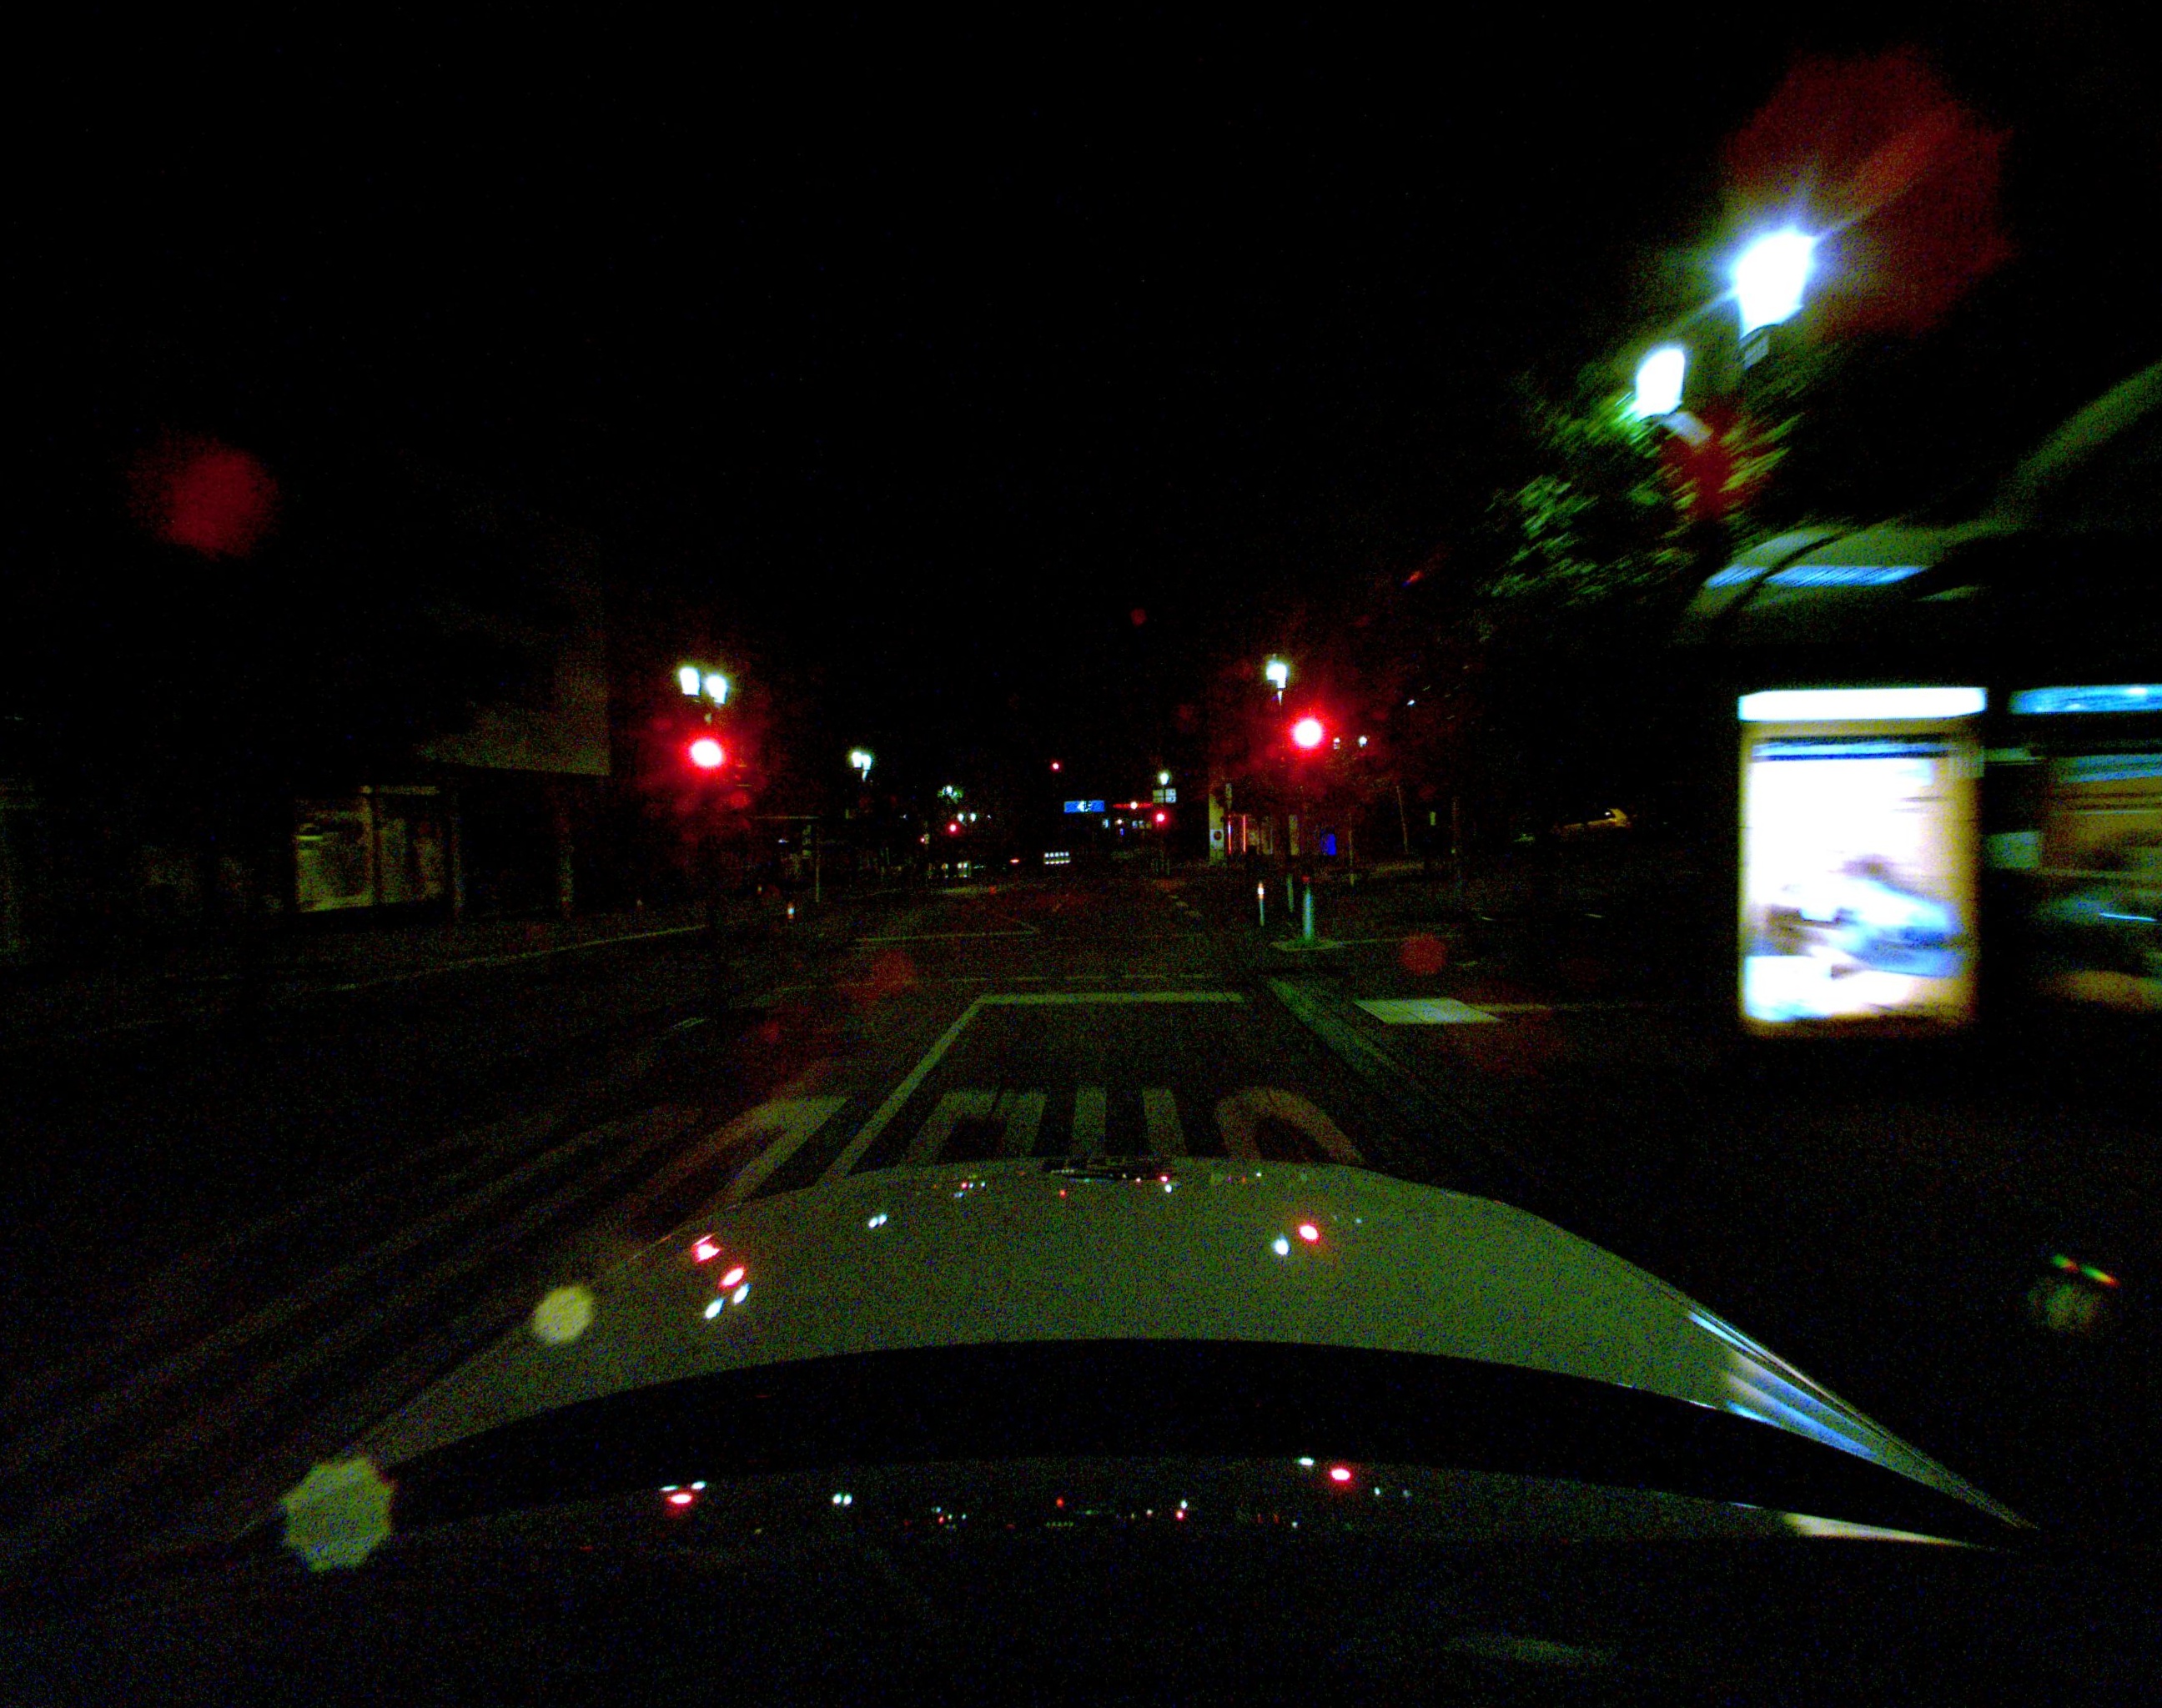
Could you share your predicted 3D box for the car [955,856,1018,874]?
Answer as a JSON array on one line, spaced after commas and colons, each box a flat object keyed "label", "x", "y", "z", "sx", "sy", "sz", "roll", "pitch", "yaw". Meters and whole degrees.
[{"label": "car", "x": -6.777, "y": 0.792, "z": 58.495, "sx": 4.418, "sy": 1.297, "sz": 1.635, "roll": 0, "pitch": -1, "yaw": -11}]

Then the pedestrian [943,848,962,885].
[{"label": "pedestrian", "x": -6.334, "y": 0.607, "z": 40.167, "sx": 0.740, "sy": 1.795, "sz": 0.711, "roll": 0, "pitch": -2, "yaw": -32}]

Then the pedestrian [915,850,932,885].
[{"label": "pedestrian", "x": -8.042, "y": 0.683, "z": 41.543, "sx": 0.712, "sy": 1.795, "sz": 0.571, "roll": -1, "pitch": -2, "yaw": 8}]

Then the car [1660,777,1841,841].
[{"label": "car", "x": 23.600, "y": -1.523, "z": 28.983, "sx": 4.783, "sy": 1.910, "sz": 2.172, "roll": -2, "pitch": -2, "yaw": 37}]

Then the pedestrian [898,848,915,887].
[{"label": "pedestrian", "x": -8.224, "y": 0.635, "z": 38.489, "sx": 0.715, "sy": 1.795, "sz": 0.568, "roll": 0, "pitch": -2, "yaw": -6}]

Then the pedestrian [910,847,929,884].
[{"label": "pedestrian", "x": -7.981, "y": 0.582, "z": 40.335, "sx": 0.709, "sy": 1.795, "sz": 0.573, "roll": -1, "pitch": -2, "yaw": 25}]

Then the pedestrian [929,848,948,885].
[{"label": "pedestrian", "x": -7.142, "y": 0.624, "z": 40.768, "sx": 0.709, "sy": 1.795, "sz": 0.573, "roll": -2, "pitch": -2, "yaw": 35}]

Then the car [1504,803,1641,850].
[{"label": "car", "x": 18.723, "y": -1.037, "z": 31.180, "sx": 4.019, "sy": 1.452, "sz": 1.830, "roll": -4, "pitch": 0, "yaw": 8}]
